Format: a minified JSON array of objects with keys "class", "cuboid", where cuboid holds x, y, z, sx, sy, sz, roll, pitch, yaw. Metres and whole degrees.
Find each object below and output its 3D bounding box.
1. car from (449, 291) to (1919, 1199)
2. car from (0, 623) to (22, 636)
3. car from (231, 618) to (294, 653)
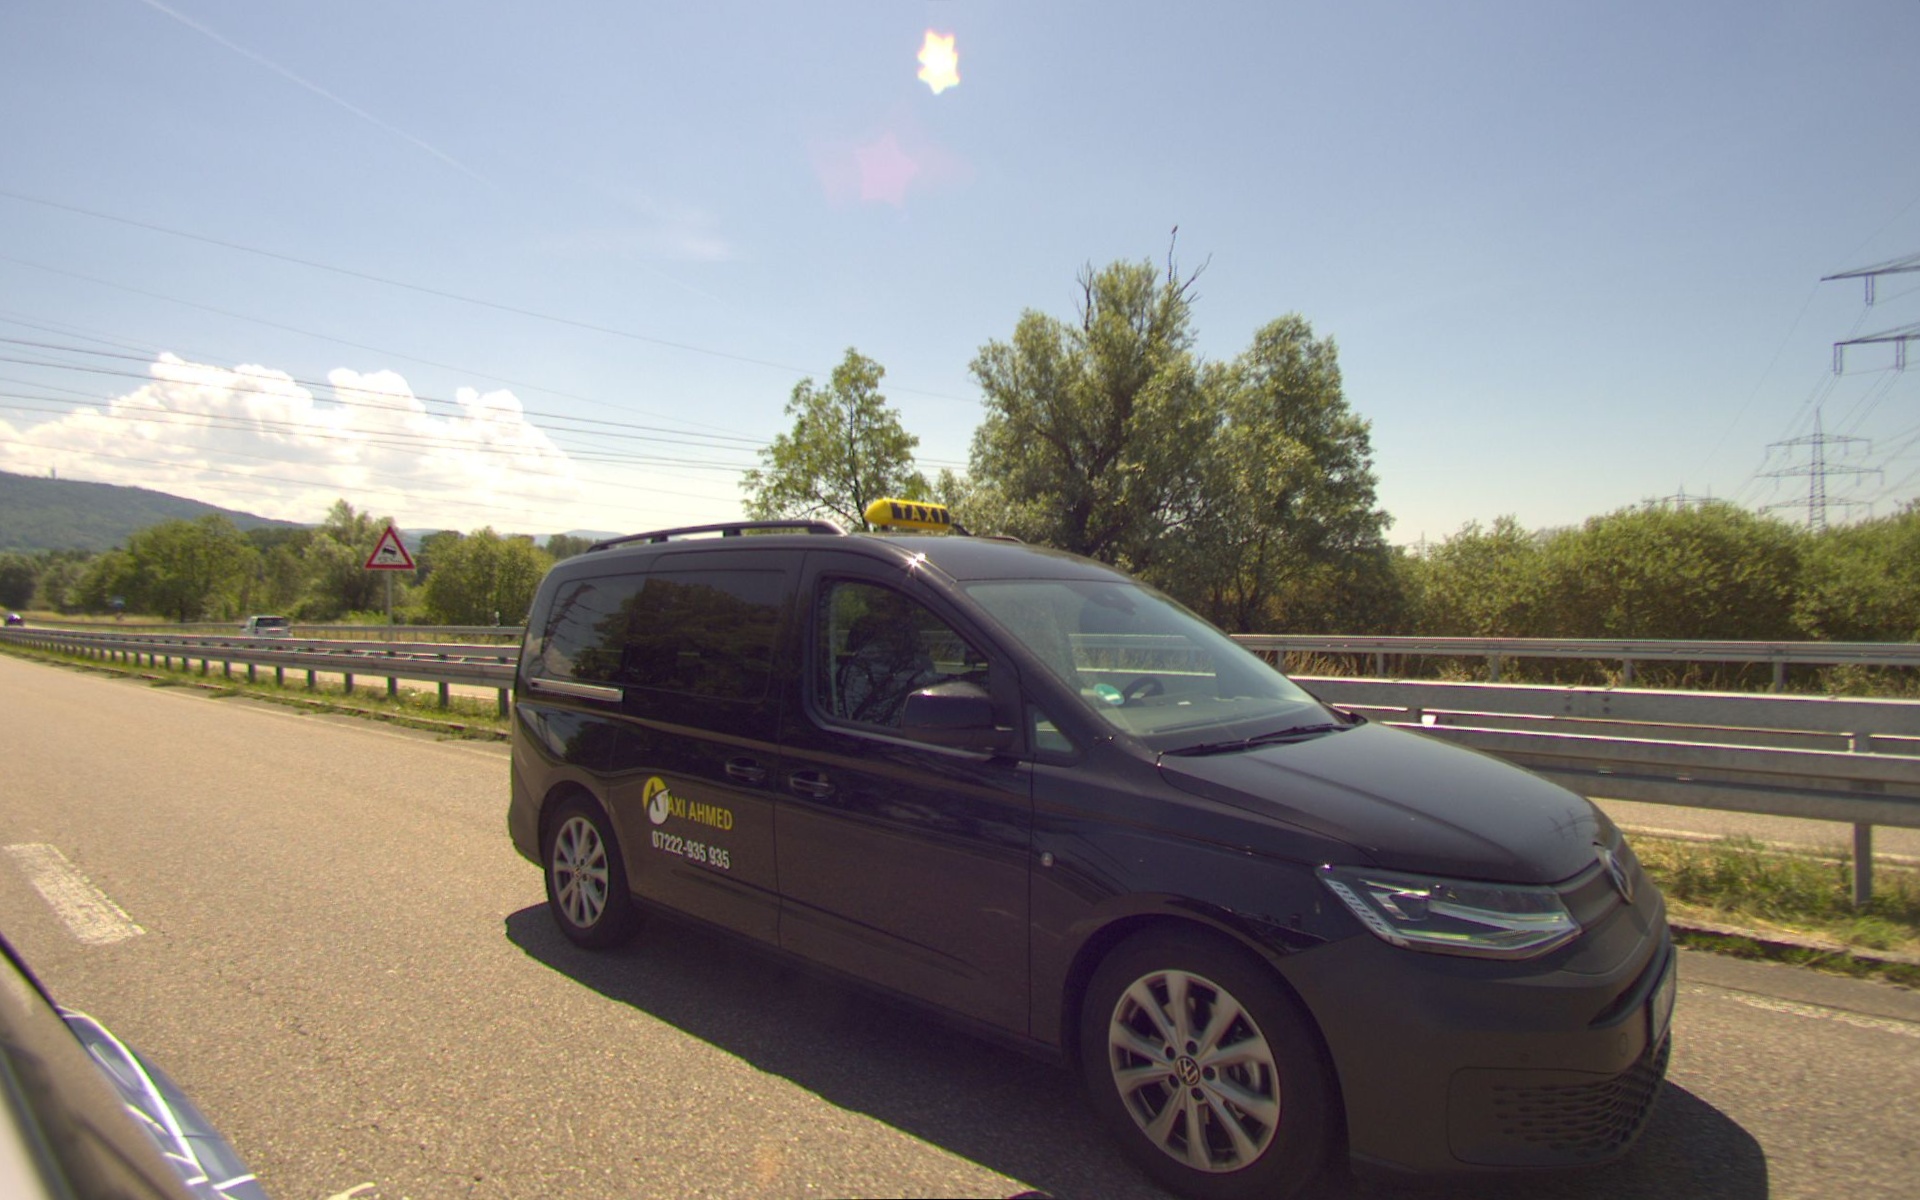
[{"class":"car","cuboid":[0.136,0.506,3.948,5.570,1.901,1.835,-1,-1,41]},{"class":"car","cuboid":[-115.965,3.580,123.414,4.679,1.423,1.825,-1,-1,42]},{"class":"car","cuboid":[-31.695,1.592,45.939,3.700,1.460,1.517,-1,-1,42]}]
